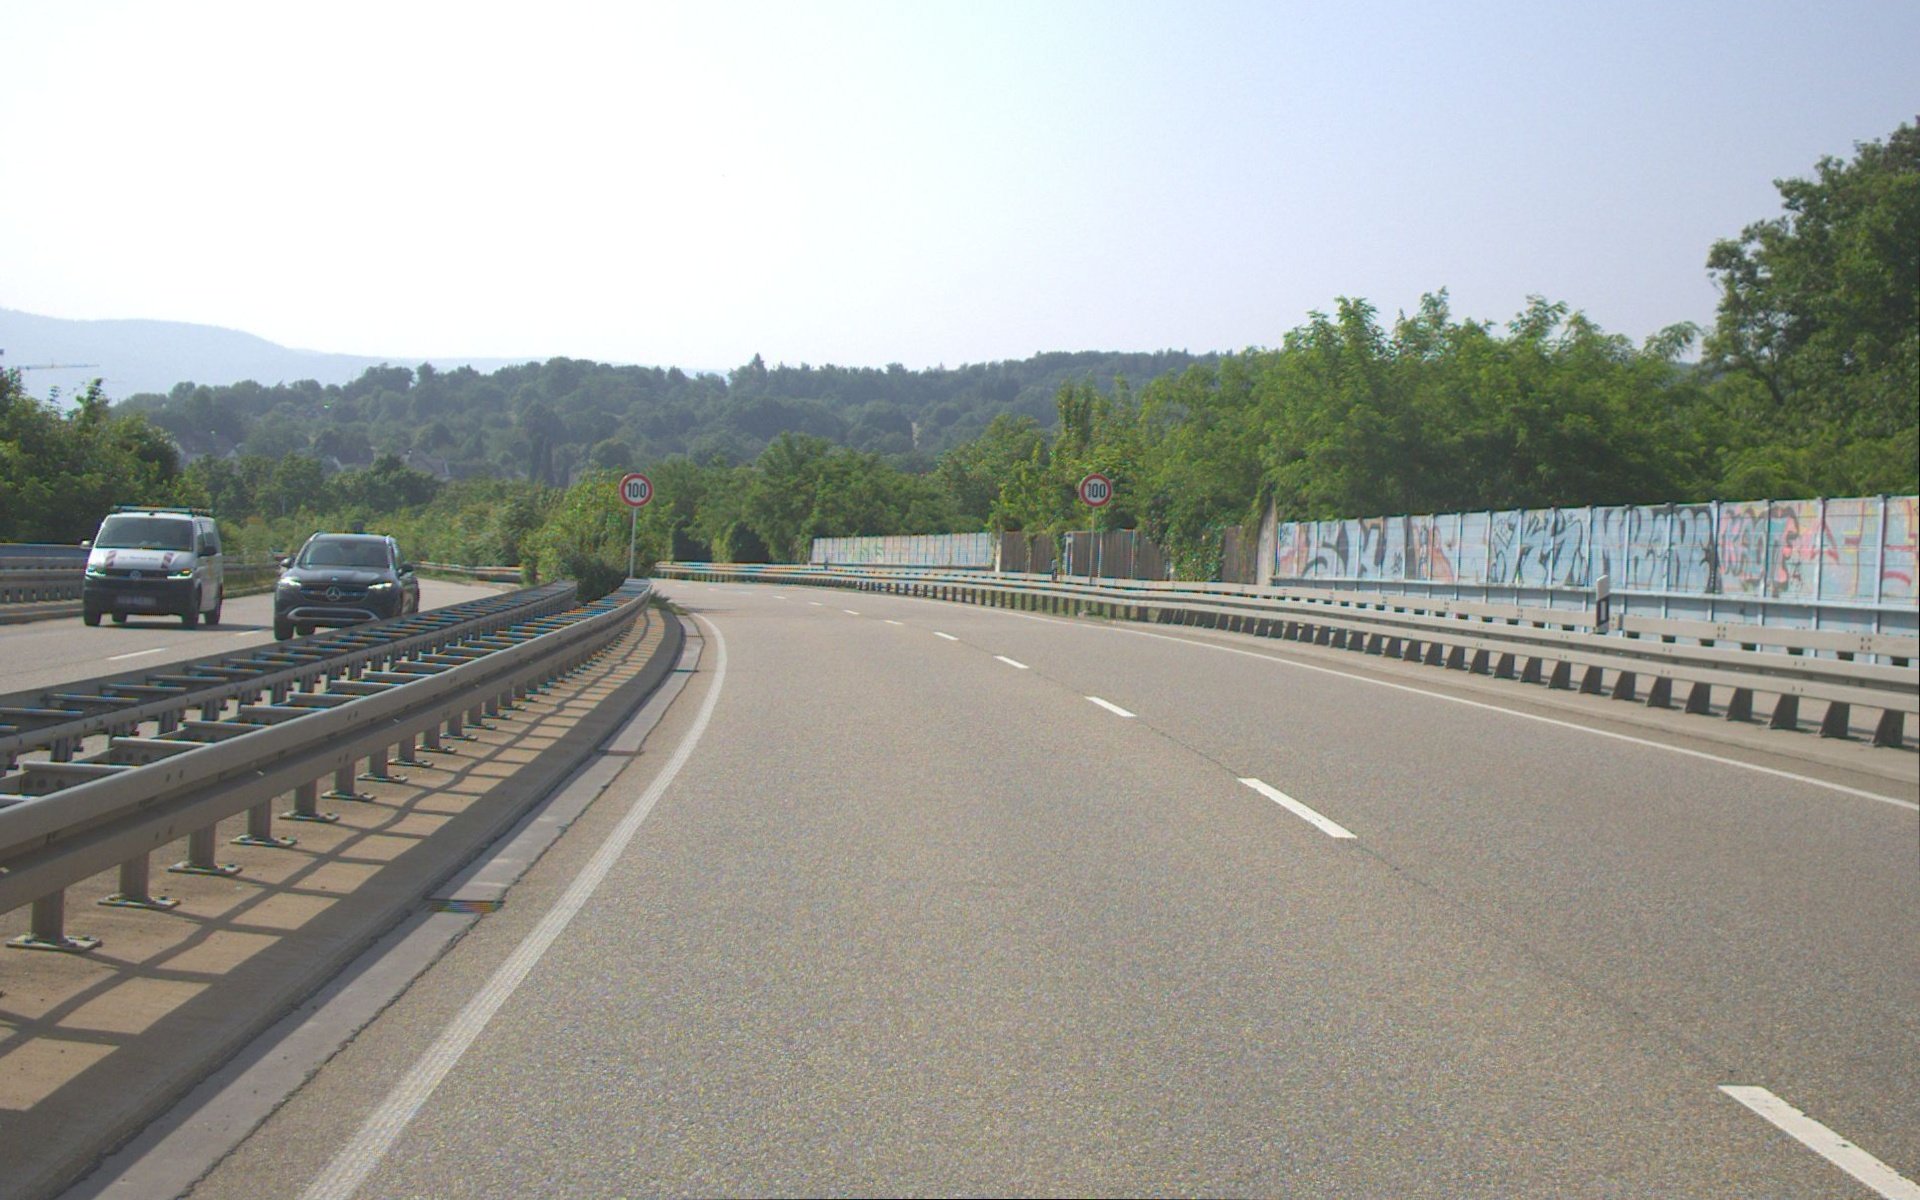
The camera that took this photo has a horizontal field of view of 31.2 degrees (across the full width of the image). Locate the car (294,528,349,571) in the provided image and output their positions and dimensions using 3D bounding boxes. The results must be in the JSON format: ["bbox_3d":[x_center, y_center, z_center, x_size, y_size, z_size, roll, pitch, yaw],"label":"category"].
[{"bbox_3d":[-25.276,-2.001,136.154,1.723,1.591,4.001,3,1,-6],"label":"car"}]

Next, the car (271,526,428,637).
[{"bbox_3d":[-9.514,-0.328,53.840,1.864,1.602,4.419,2,1,-3],"label":"car"}]

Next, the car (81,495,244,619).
[{"bbox_3d":[-13.786,-0.776,59.687,2.038,1.999,5.309,2,1,-6],"label":"car"}]

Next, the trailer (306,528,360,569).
[{"bbox_3d":[-25.608,-2.105,140.586,1.718,1.573,4.813,3,1,-6],"label":"trailer"}]

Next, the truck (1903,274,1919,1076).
[{"bbox_3d":[4.116,-0.539,7.049,2.658,3.883,5.648,1,1,-1],"label":"truck"}]
